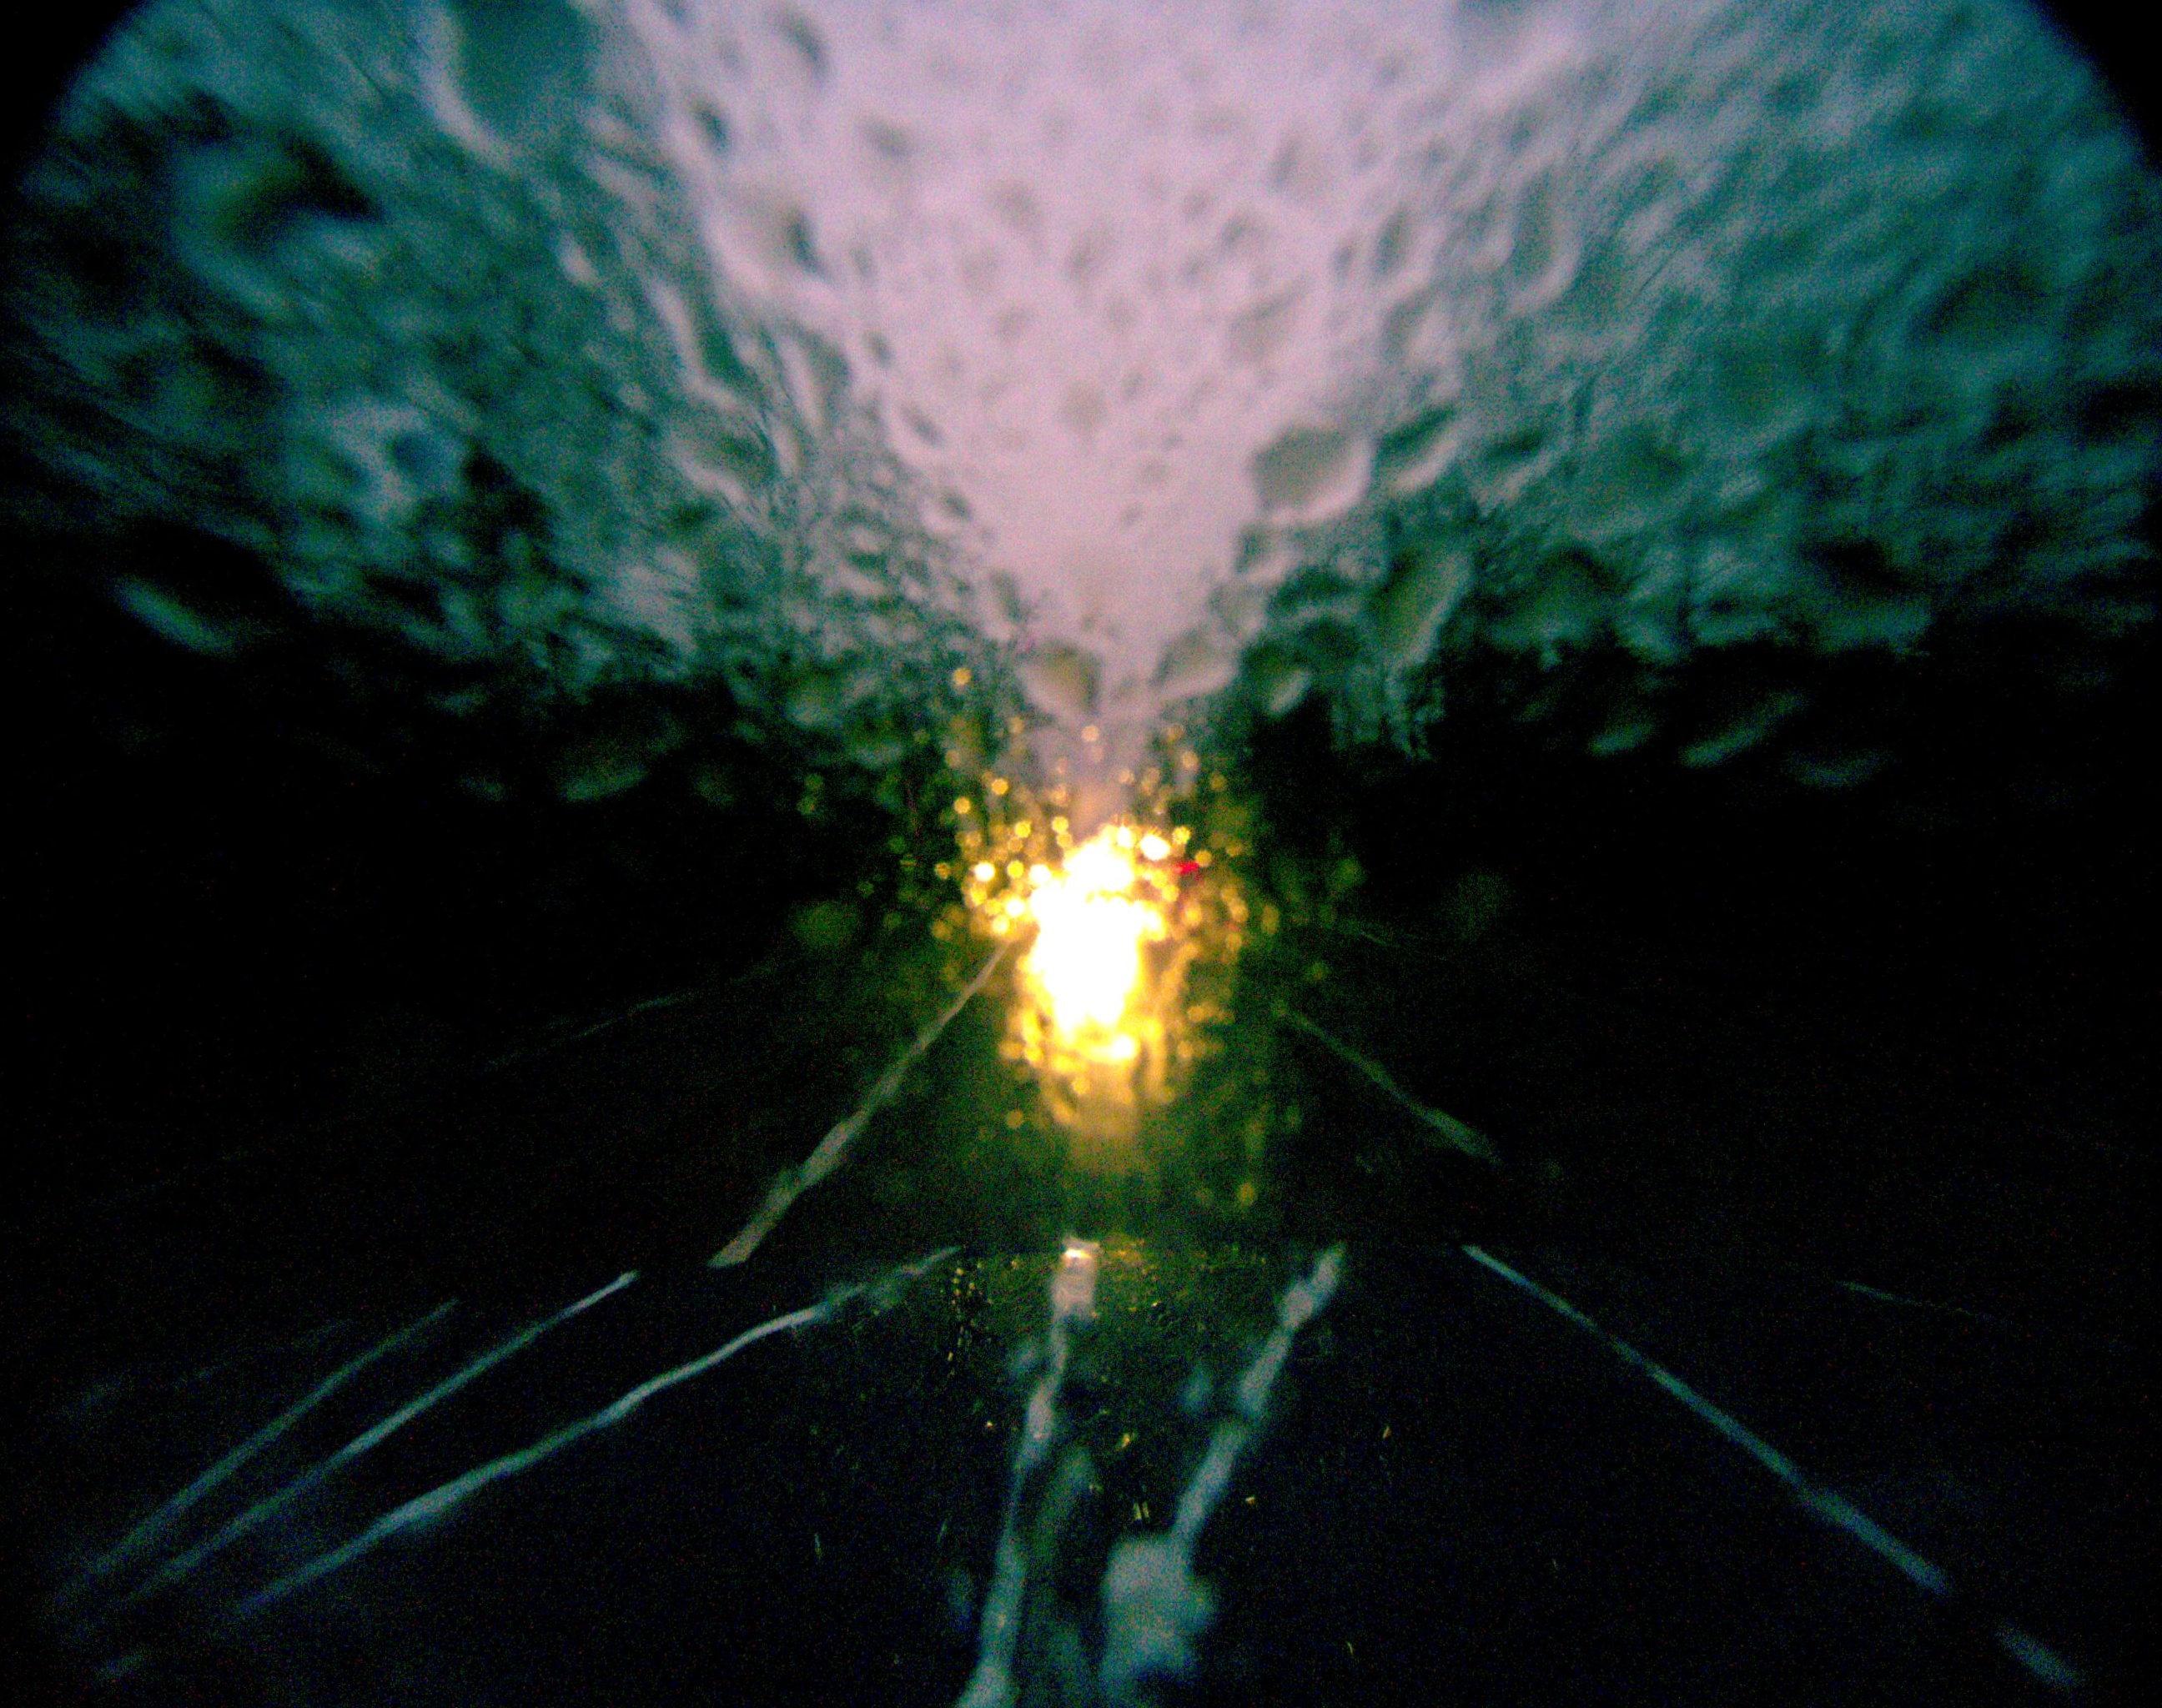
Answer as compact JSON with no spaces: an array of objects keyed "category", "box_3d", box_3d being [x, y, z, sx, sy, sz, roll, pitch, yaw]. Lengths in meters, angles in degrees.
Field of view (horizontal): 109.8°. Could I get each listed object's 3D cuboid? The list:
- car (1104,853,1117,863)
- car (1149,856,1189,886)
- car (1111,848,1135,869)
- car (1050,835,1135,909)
[{"category":"car","box_3d":[4.806,0.695,125.174,2.080,1.607,4.152,0,0,2]},{"category":"car","box_3d":[4.547,0.875,39.720,1.758,1.449,3.637,1,0,1]},{"category":"car","box_3d":[4.060,0.409,73.993,2.012,1.977,5.031,1,0,0]},{"category":"car","box_3d":[0.429,0.563,26.632,2.542,2.213,6.169,-2,0,1]}]
